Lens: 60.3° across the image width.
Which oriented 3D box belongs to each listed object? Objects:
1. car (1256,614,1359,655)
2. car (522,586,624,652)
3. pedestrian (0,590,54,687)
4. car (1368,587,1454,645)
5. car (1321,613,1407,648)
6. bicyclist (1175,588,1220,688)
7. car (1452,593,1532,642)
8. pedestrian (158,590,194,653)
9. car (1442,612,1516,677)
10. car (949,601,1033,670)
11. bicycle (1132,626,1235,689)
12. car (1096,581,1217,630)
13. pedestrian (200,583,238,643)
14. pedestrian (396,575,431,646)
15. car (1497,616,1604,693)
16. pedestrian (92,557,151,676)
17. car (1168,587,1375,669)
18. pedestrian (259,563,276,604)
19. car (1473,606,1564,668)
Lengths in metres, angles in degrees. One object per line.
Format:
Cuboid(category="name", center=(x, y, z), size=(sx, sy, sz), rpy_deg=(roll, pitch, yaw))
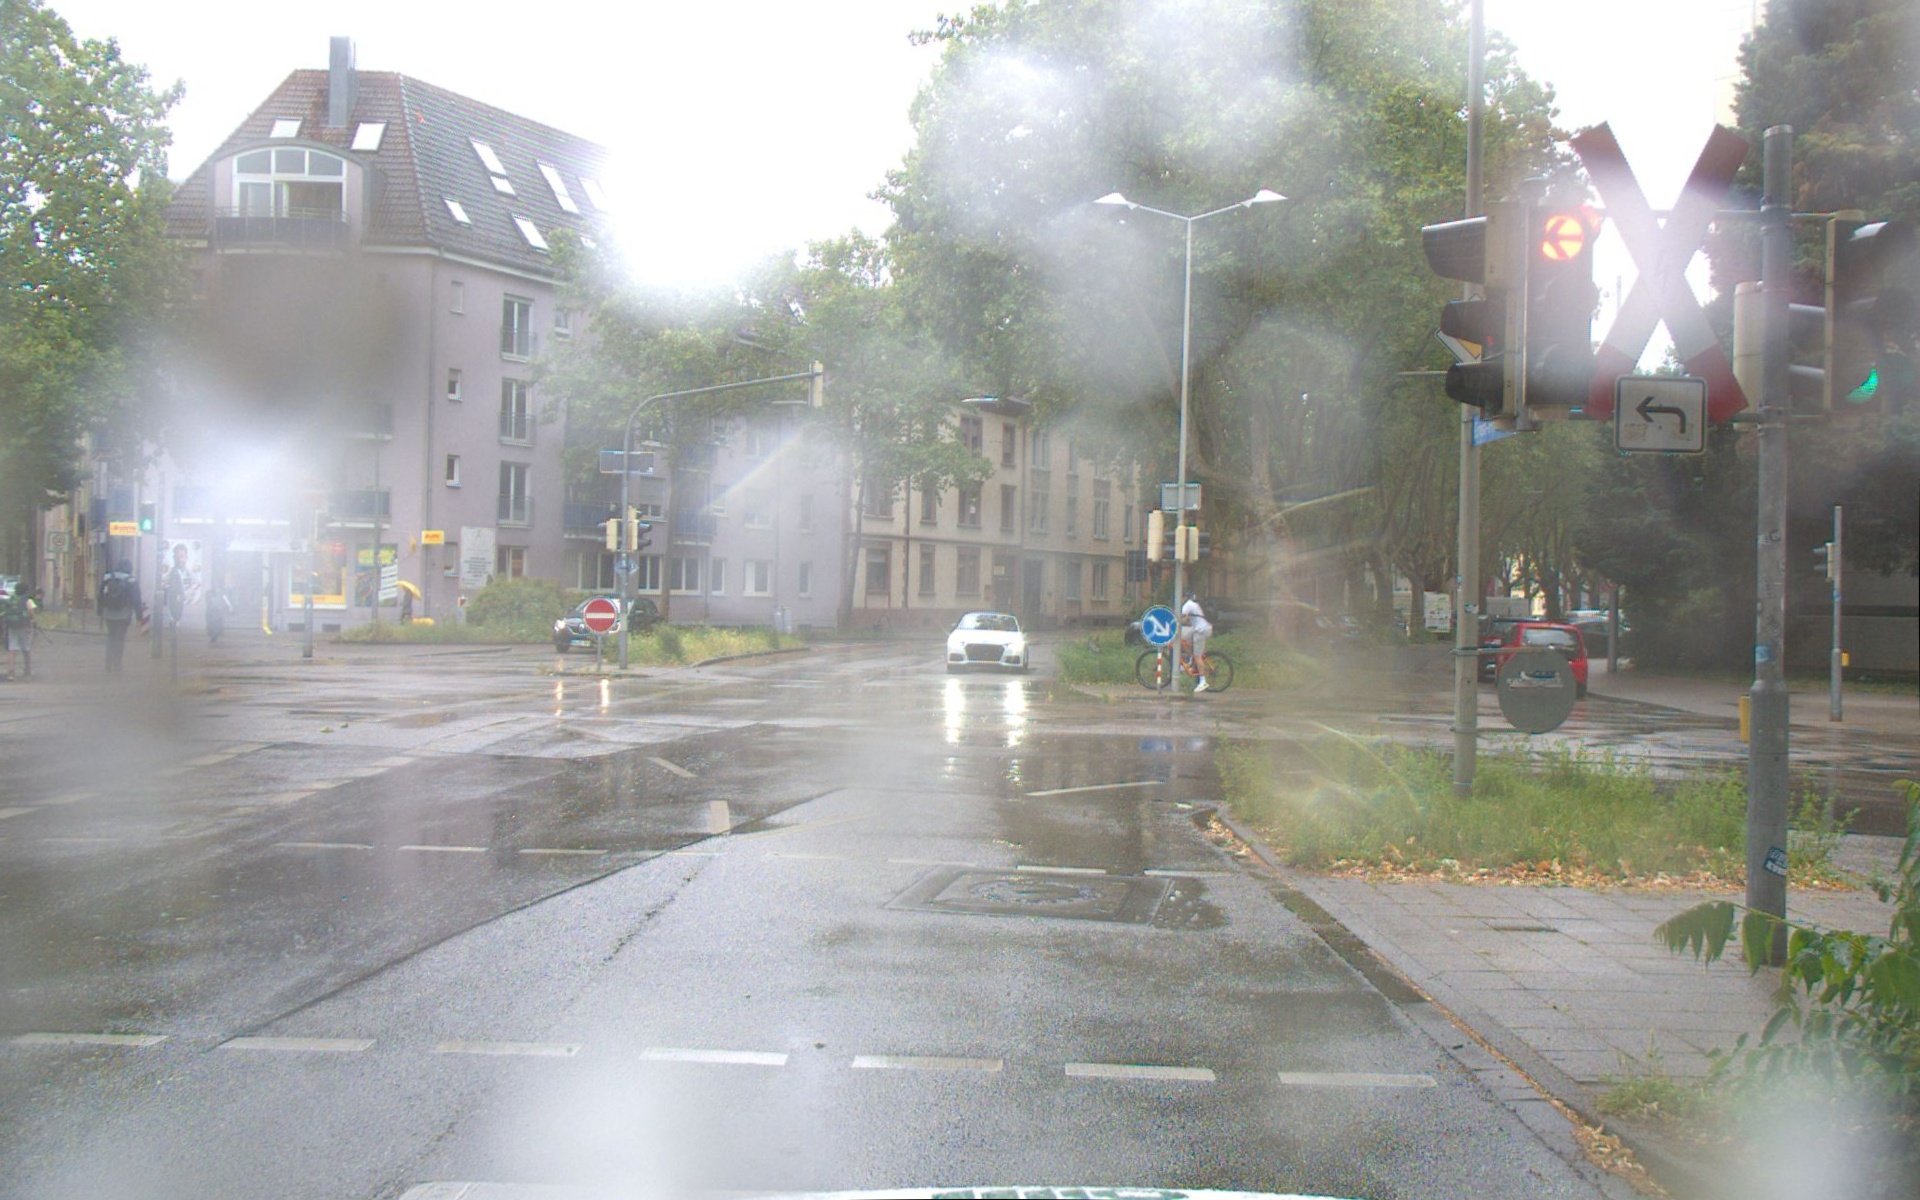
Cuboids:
Cuboid(category="car", center=(13.780, 1.350, 65.623), size=(3.902, 1.512, 2.002), rpy_deg=(1, 0, 12))
Cuboid(category="car", center=(-9.627, 0.445, 41.355), size=(1.716, 1.538, 3.838), rpy_deg=(1, 0, -2))
Cuboid(category="pedestrian", center=(-14.019, 0.563, 24.827), size=(0.643, 1.420, 0.773), rpy_deg=(1, 0, -35))
Cuboid(category="car", center=(23.954, 0.845, 88.079), size=(2.005, 2.999, 4.742), rpy_deg=(1, 0, -21))
Cuboid(category="car", center=(19.261, 1.439, 78.936), size=(3.902, 1.574, 2.002), rpy_deg=(1, 0, 12))
Cuboid(category="bicyclist", center=(4.361, 0.694, 30.430), size=(0.778, 1.817, 0.697), rpy_deg=(1, -1, 7))
Cuboid(category="car", center=(33.670, 1.082, 104.822), size=(1.974, 2.999, 4.720), rpy_deg=(1, 0, -31))
Cuboid(category="pedestrian", center=(-20.753, 0.563, 43.801), size=(0.662, 1.628, 0.964), rpy_deg=(1, -1, -16))
Cuboid(category="car", center=(14.988, 1.252, 47.919), size=(1.745, 1.757, 4.003), rpy_deg=(1, 0, 13))
Cuboid(category="car", center=(0.742, 0.797, 39.077), size=(1.845, 1.461, 4.001), rpy_deg=(1, 0, 1))
Cuboid(category="bicycle", center=(4.107, 1.048, 30.456), size=(1.833, 1.100, 0.657), rpy_deg=(1, 0, 7))
Cuboid(category="car", center=(6.488, 0.177, 54.519), size=(3.784, 1.512, 1.717), rpy_deg=(1, 0, 12))
Cuboid(category="pedestrian", center=(-19.429, 0.342, 43.367), size=(0.743, 1.560, 0.782), rpy_deg=(1, -1, -35))
Cuboid(category="pedestrian", center=(-17.098, 0.324, 51.765), size=(0.897, 2.188, 0.879), rpy_deg=(1, -1, -26))
Cuboid(category="car", center=(13.050, 1.160, 36.746), size=(1.754, 1.524, 4.003), rpy_deg=(1, 0, 13))
Cuboid(category="pedestrian", center=(-13.558, 0.263, 26.762), size=(0.777, 1.888, 0.676), rpy_deg=(1, 0, -25))
Cuboid(category="car", center=(6.184, 0.532, 32.824), size=(3.902, 1.512, 2.002), rpy_deg=(1, 0, 12))
Cuboid(category="pedestrian", center=(-22.609, -0.536, 53.966), size=(0.437, 1.353, 0.559), rpy_deg=(1, -1, -18))
Cuboid(category="car", center=(13.896, 0.875, 41.316), size=(1.745, 1.371, 3.932), rpy_deg=(1, 1, 13))
